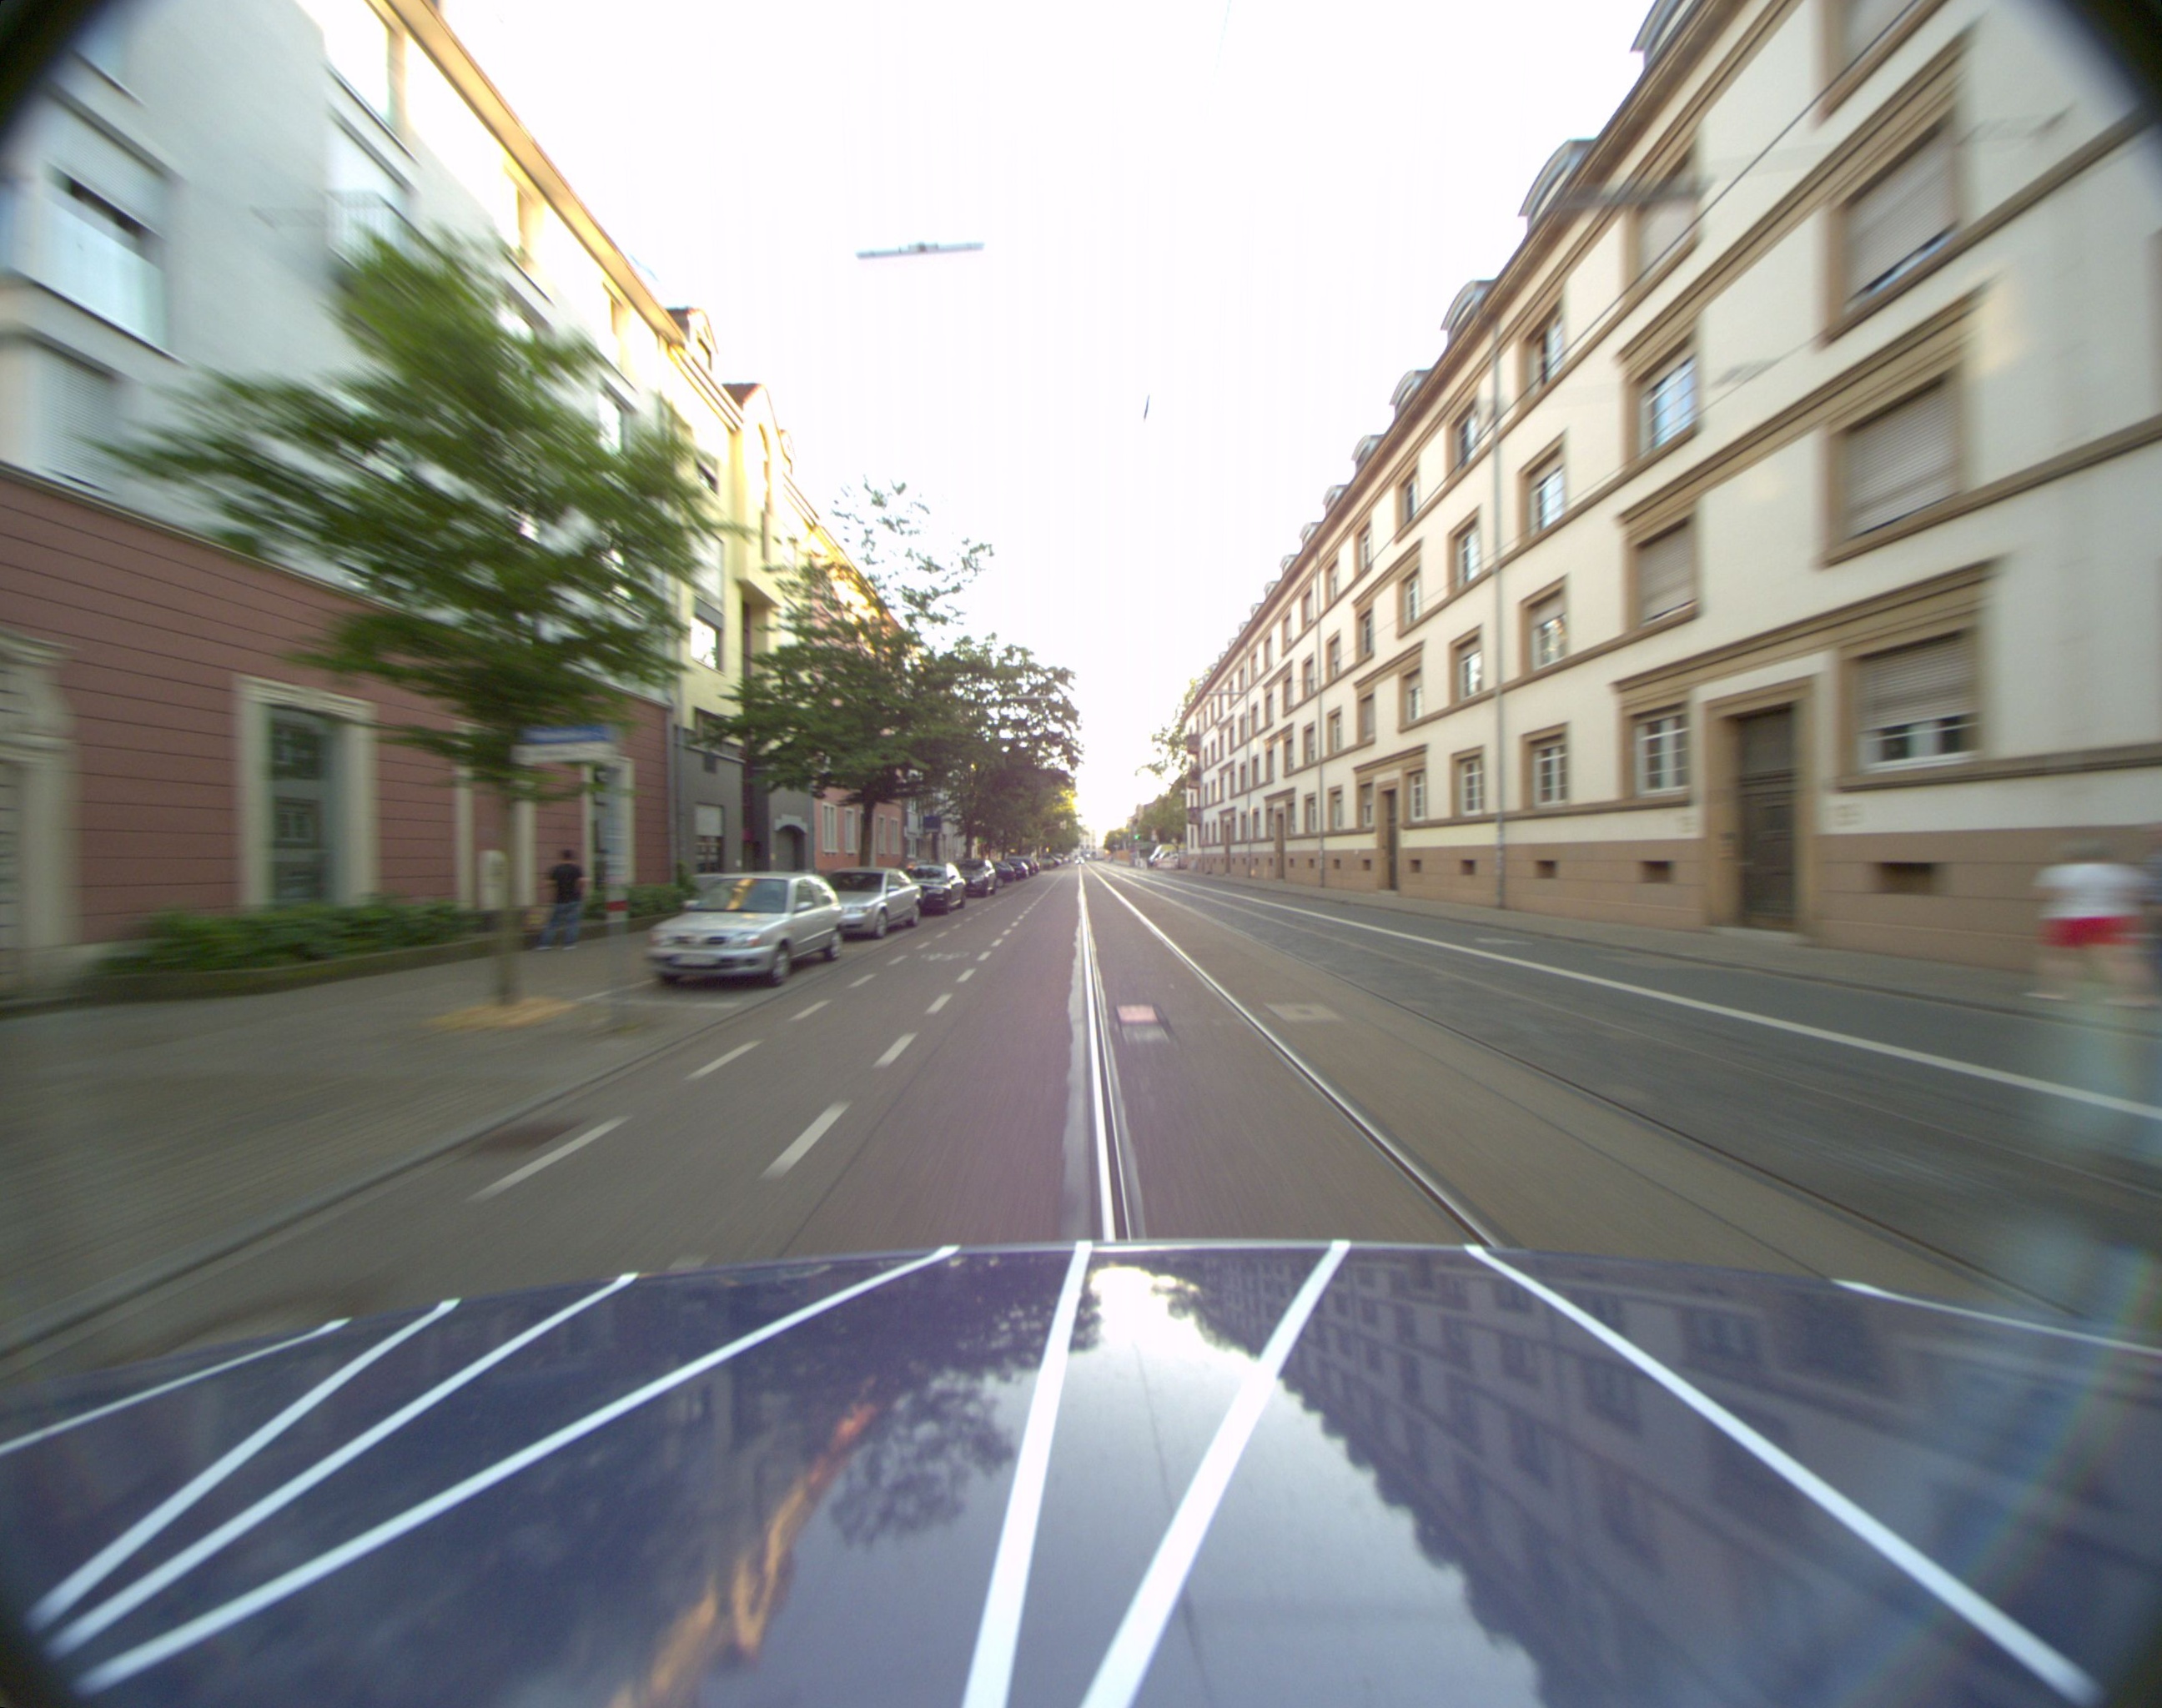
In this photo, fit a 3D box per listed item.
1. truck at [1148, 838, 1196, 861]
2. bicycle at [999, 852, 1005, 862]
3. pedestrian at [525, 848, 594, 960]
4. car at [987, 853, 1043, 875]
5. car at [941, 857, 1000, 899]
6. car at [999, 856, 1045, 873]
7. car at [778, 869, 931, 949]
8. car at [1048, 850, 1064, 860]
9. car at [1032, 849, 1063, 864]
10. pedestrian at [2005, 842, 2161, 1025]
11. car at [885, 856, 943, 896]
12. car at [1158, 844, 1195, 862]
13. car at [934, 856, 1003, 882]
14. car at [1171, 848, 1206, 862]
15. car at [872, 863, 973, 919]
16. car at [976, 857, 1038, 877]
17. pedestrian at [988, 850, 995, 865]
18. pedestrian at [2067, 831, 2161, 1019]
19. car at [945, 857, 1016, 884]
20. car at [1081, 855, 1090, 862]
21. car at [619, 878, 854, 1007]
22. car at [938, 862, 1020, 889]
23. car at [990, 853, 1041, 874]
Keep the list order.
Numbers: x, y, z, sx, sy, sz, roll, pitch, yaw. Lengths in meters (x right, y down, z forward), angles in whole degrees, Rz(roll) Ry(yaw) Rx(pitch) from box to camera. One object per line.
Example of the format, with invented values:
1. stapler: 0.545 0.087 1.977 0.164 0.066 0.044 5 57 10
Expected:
1. truck: 14.521 -0.697 121.630 7.077 3.408 2.565 -2 0 -3
2. bicycle: -10.124 0.359 97.380 0.471 1.203 1.586 -1 0 0
3. pedestrian: -8.660 0.807 12.638 0.682 1.805 0.600 -1 1 1
4. car: -5.306 0.813 61.155 4.197 1.686 1.843 0 0 -22
5. car: -4.685 0.965 32.749 1.884 1.608 4.262 1 0 -1
6. car: -5.553 1.012 71.980 4.003 1.531 1.776 -1 0 -19
7. car: -4.752 1.082 16.738 1.784 1.373 4.691 1 0 2
8. car: -6.409 0.247 195.103 3.992 2.551 1.722 0 -1 1
9. car: -5.910 0.508 134.607 5.236 2.605 1.925 1 0 -16
10. pedestrian: 9.389 0.700 7.076 0.592 1.600 0.811 -1 1 -2
11. car: -7.107 0.897 32.746 1.885 1.575 4.019 -1 0 -5
12. car: 14.564 -0.180 115.667 5.233 2.582 2.229 -2 0 -4
13. car: -7.039 0.928 47.603 4.004 1.584 1.717 0 -1 -21
14. car: 15.579 0.221 110.138 4.844 1.862 2.015 -2 0 1
15. car: -4.695 1.044 23.362 1.998 1.480 5.035 0 0 0
16. car: -5.289 0.919 54.517 4.390 1.455 1.719 0 0 -5
17. pedestrian: -10.943 0.378 93.282 0.558 1.821 0.613 -1 -2 37
18. pedestrian: 10.101 0.631 6.989 0.797 1.691 0.981 -1 1 -2
19. car: -6.028 0.967 45.532 3.977 1.544 1.717 0 -1 -17
20. car: 1.135 1.058 182.320 1.998 1.674 4.000 -2 0 0
21. car: -4.629 1.108 10.855 1.623 1.373 3.775 1 0 0
22. car: -5.731 1.178 42.669 4.269 1.380 1.617 -1 0 -26
23. car: -5.725 0.830 66.378 4.004 1.805 1.821 1 0 -21
